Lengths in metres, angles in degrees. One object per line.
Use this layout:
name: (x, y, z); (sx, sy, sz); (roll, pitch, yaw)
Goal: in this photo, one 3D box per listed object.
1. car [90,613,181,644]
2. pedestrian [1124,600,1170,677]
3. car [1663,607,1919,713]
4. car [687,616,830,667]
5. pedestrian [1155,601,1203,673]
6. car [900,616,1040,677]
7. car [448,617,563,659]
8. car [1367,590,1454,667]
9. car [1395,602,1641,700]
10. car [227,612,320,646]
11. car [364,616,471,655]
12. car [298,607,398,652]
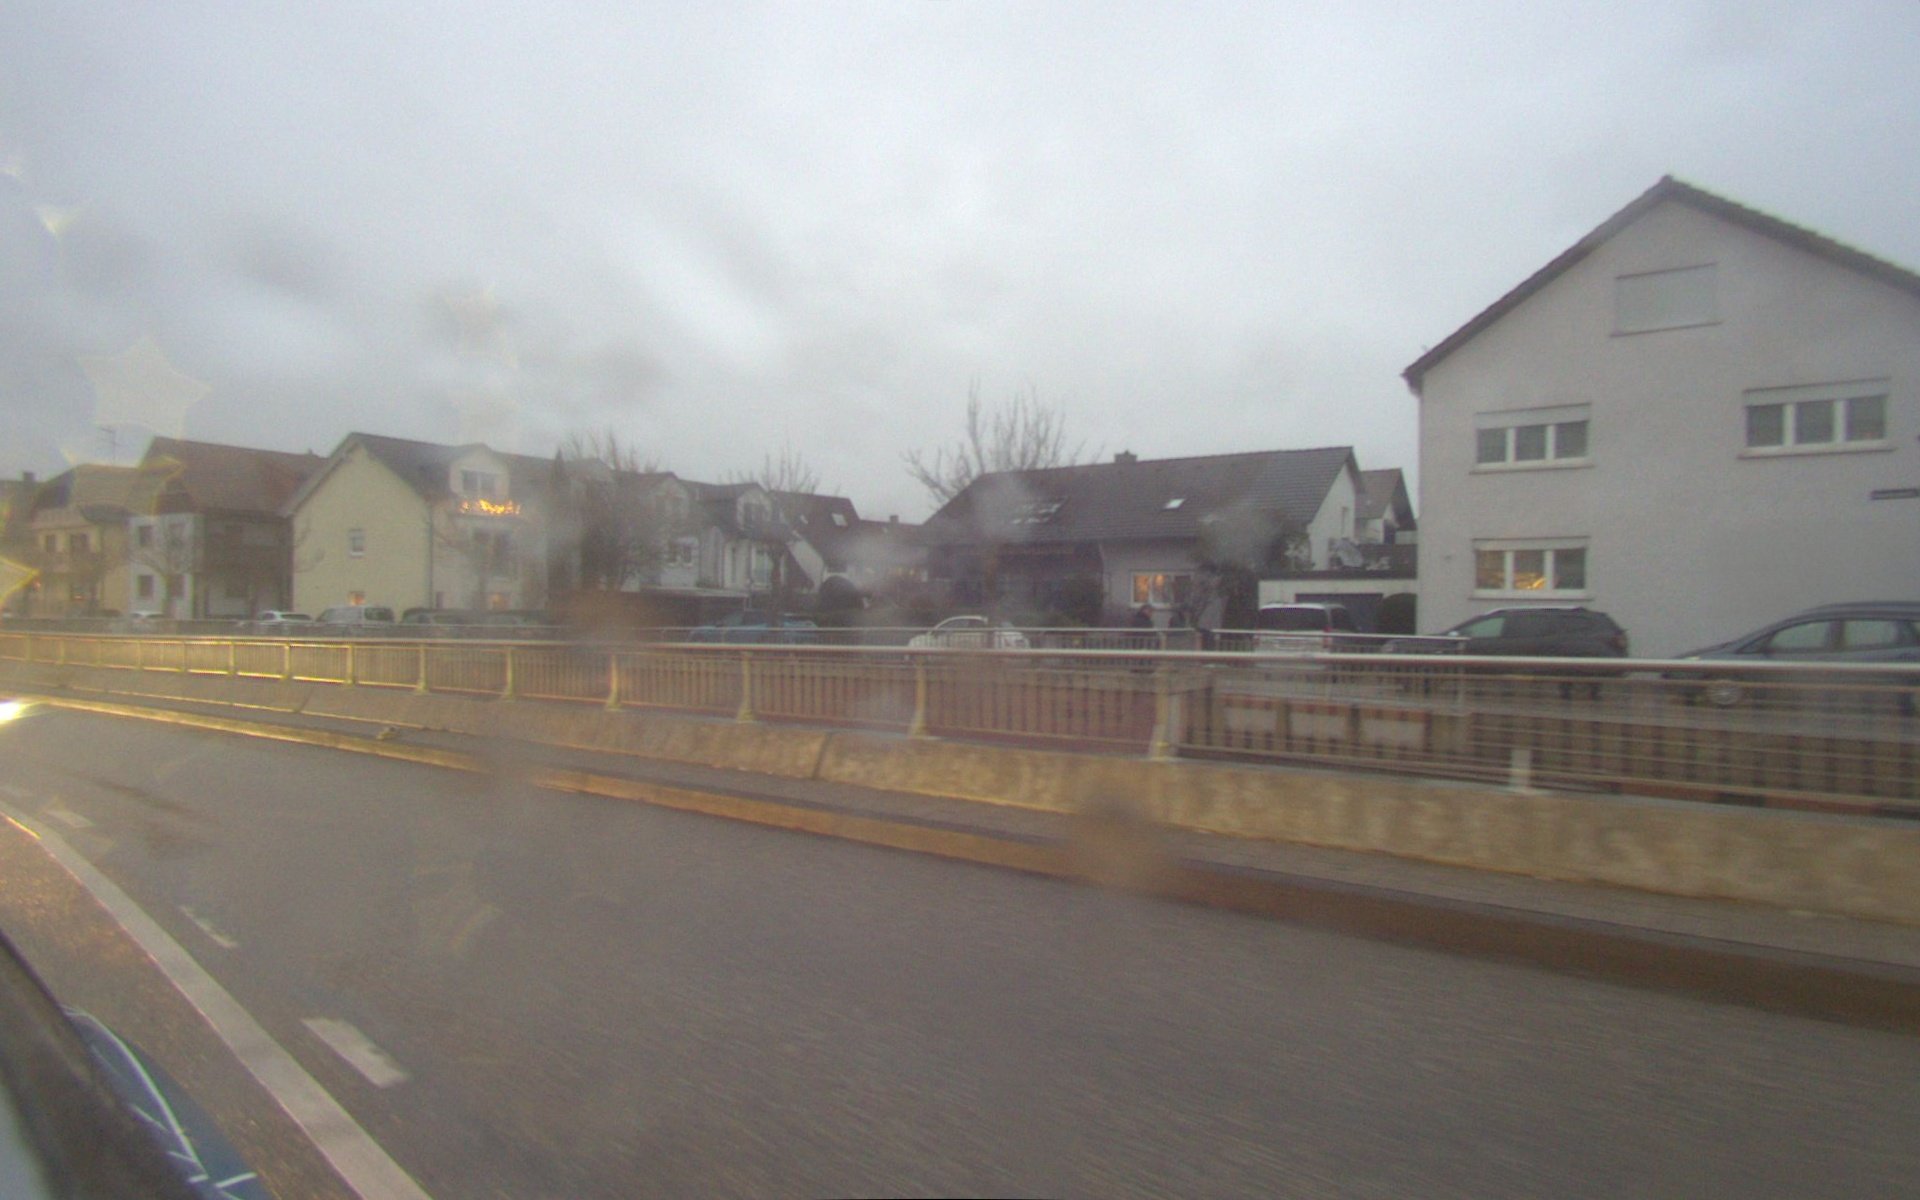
car: (-41.620, 1.425, 51.095); (4.590, 1.480, 1.784); (-1, -1, 26)
pedestrian: (3.244, 0.654, 17.549); (0.602, 1.312, 0.504); (-1, -1, 39)
car: (14.084, 0.925, 16.650); (4.086, 1.581, 1.758); (-1, 0, 37)
car: (-6.238, 1.247, 31.302); (4.240, 1.480, 1.782); (-1, -1, 30)
pedestrian: (3.971, 0.659, 18.364); (0.602, 1.259, 0.684); (-1, -1, 38)
car: (0.239, 1.173, 26.723); (3.493, 1.520, 1.462); (-1, -1, 33)
car: (-17.020, 1.385, 37.868); (4.240, 1.480, 1.782); (-1, -1, 30)
car: (12.363, 0.850, 27.662); (1.468, 1.952, 3.660); (-2, -4, 35)
car: (10.561, 0.897, 19.284); (3.949, 1.673, 1.685); (-1, 0, 34)
car: (-30.948, 1.317, 45.644); (3.995, 1.480, 1.661); (-1, -3, 26)
car: (-21.731, 1.401, 40.514); (4.240, 1.480, 1.782); (-1, -1, 30)
car: (-26.031, 1.229, 43.017); (4.239, 1.841, 1.782); (-1, -1, 29)
